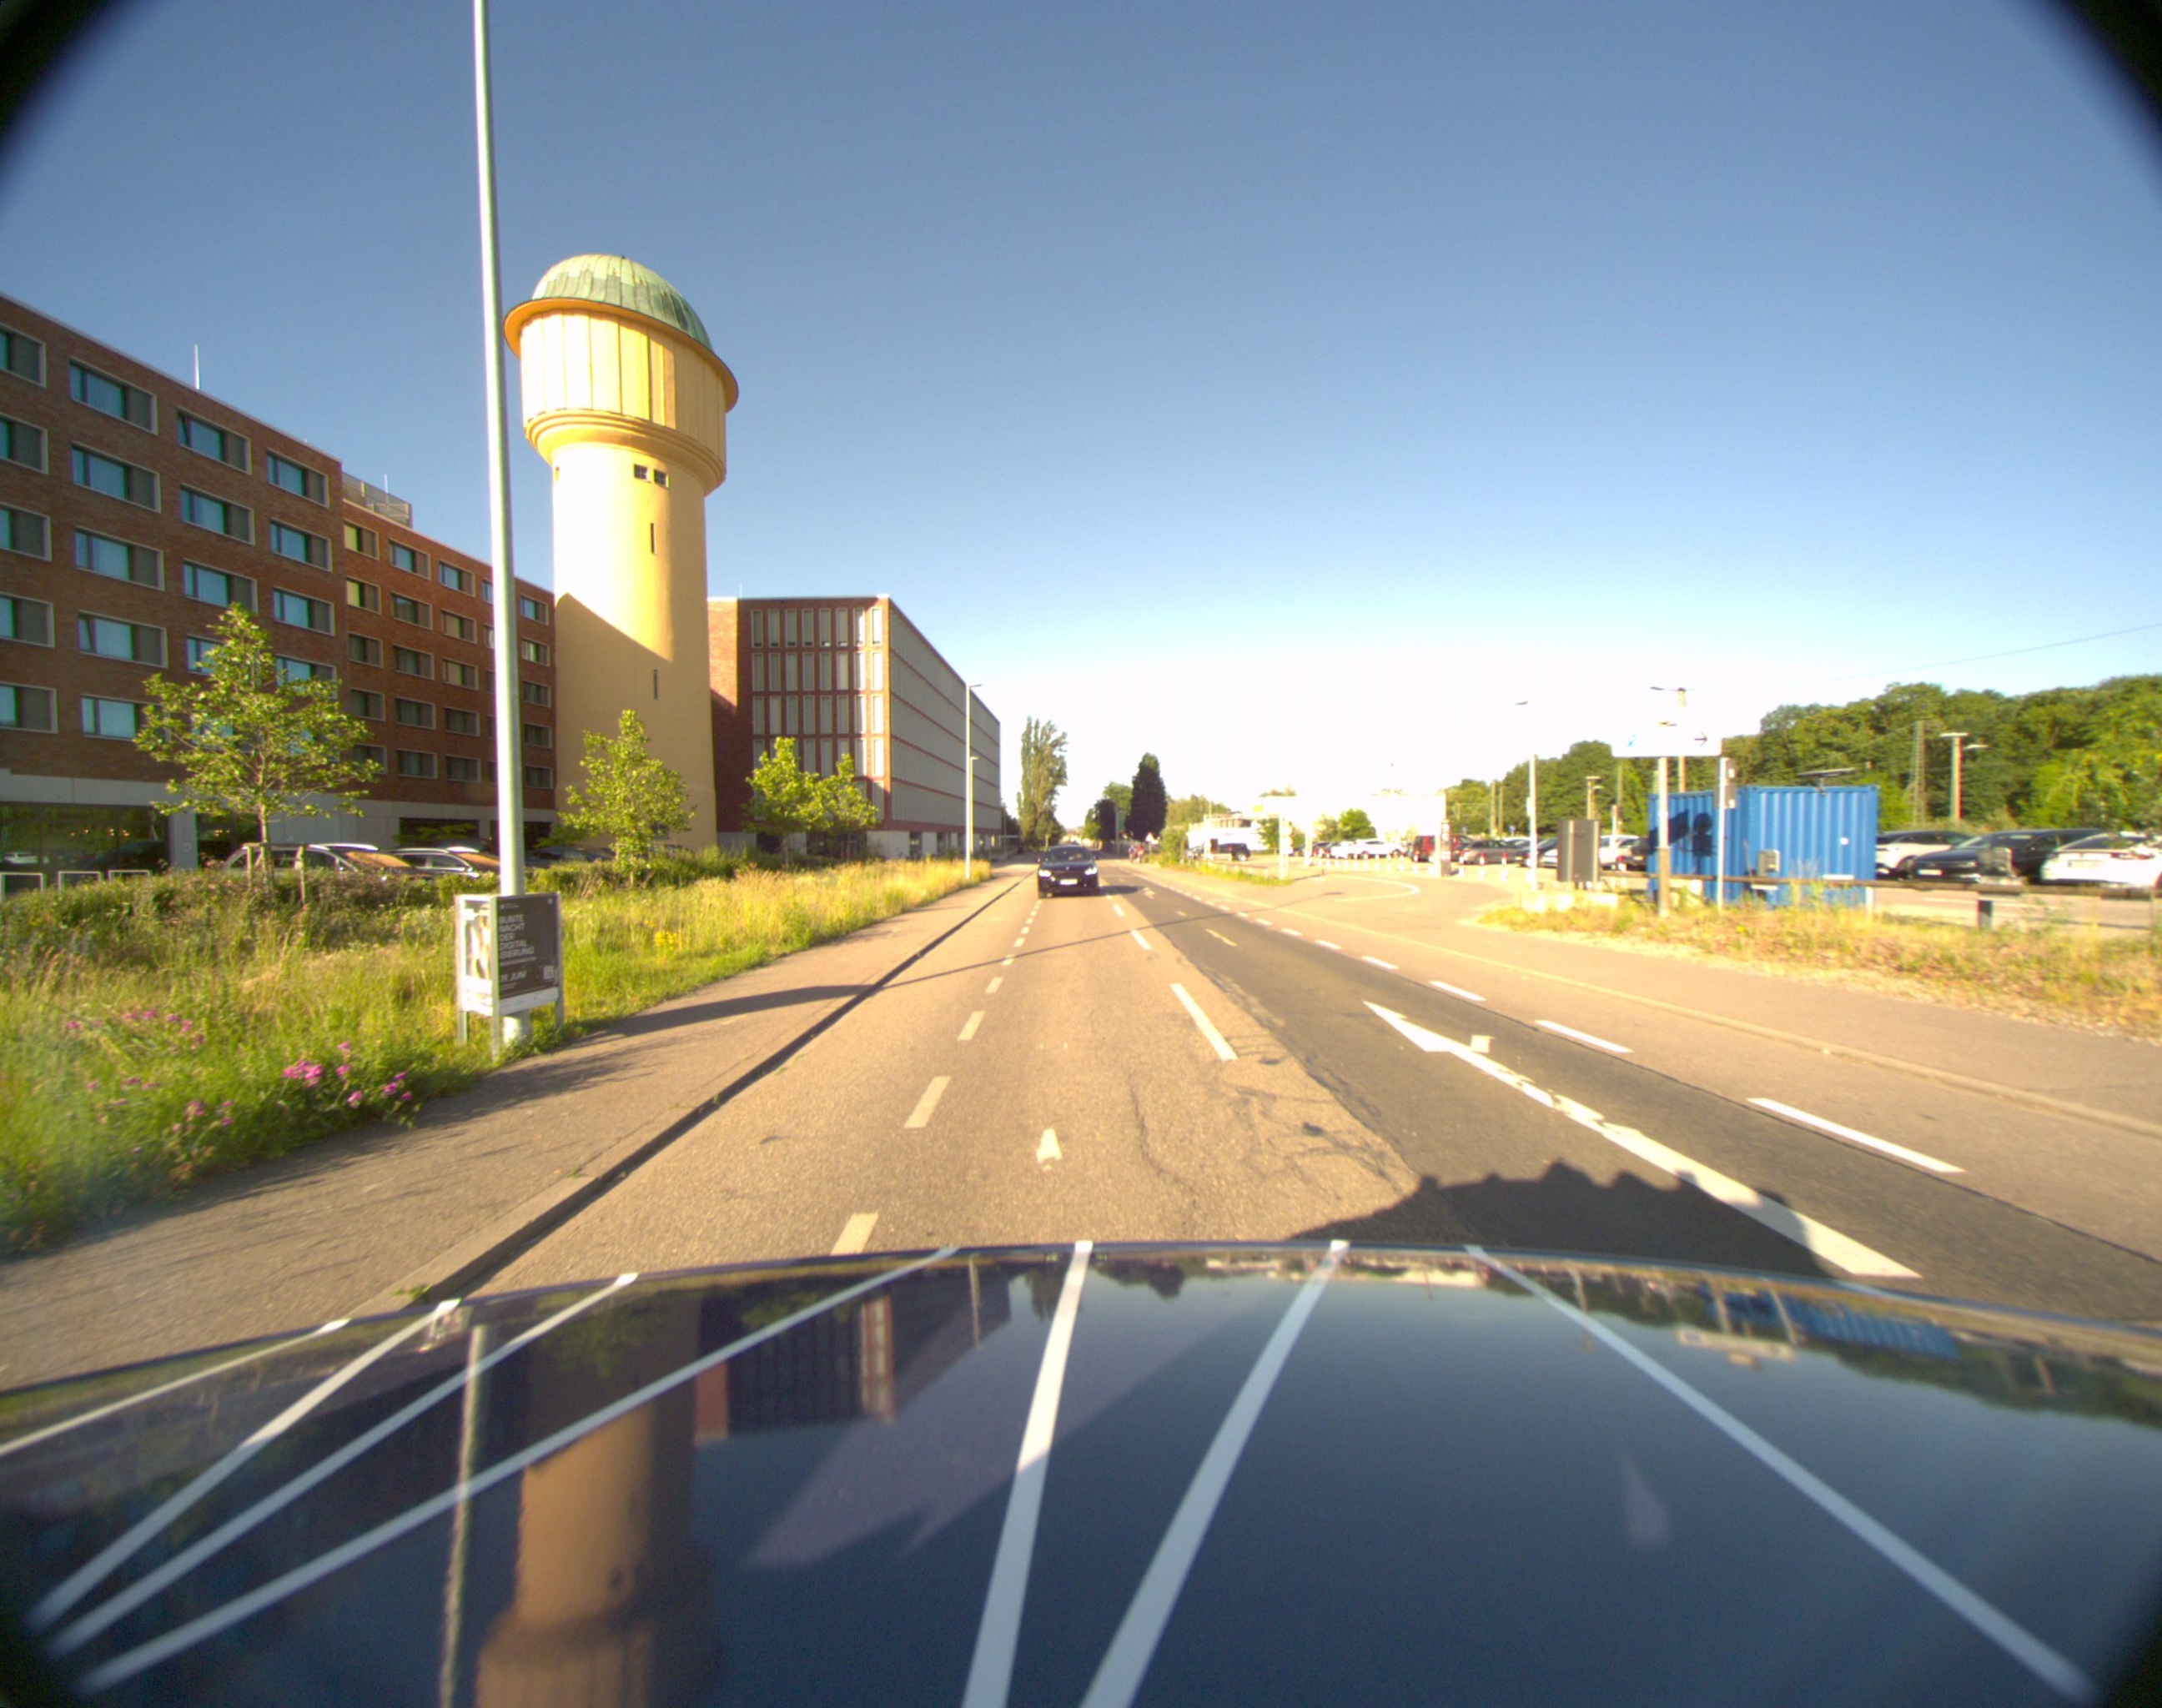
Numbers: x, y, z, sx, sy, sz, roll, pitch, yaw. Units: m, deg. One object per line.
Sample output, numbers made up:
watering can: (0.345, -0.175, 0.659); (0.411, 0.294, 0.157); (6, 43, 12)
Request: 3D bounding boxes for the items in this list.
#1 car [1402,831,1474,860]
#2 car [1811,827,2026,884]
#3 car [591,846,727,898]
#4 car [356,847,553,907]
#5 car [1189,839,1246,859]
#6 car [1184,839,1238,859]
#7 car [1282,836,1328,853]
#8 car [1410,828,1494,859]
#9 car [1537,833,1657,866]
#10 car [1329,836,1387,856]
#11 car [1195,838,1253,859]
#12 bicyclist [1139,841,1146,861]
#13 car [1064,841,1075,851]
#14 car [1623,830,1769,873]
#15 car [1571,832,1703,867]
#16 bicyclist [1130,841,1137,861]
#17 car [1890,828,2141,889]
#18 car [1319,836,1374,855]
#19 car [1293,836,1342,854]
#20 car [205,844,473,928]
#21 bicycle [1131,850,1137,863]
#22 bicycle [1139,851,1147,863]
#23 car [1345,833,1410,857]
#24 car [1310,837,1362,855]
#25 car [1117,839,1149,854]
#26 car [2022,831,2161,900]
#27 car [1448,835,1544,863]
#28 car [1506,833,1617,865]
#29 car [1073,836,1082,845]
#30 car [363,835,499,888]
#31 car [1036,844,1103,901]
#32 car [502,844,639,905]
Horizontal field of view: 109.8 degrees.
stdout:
car: (24.461, -0.577, 52.135); (4.070, 1.767, 1.870); (-2, 1, 6)
car: (24.752, 0.022, 22.557); (4.444, 1.457, 1.869); (-2, 1, -2)
car: (-17.553, 0.725, 31.787); (4.528, 2.002, 2.000); (-1, 1, 2)
car: (-17.348, 0.618, 21.157); (3.996, 1.541, 1.834); (-1, 1, 3)
car: (12.577, -0.474, 70.150); (4.811, 1.790, 2.000); (-1, 1, -1)
car: (12.454, -0.504, 72.821); (4.811, 1.790, 2.000); (-1, 1, -1)
car: (22.788, -0.991, 77.330); (4.309, 1.600, 1.741); (-2, 1, -21)
car: (23.850, -0.662, 48.955); (4.441, 1.767, 1.870); (-2, 1, 6)
car: (24.317, -0.234, 35.912); (4.444, 1.369, 1.869); (-2, 1, -2)
car: (23.153, -0.679, 63.575); (4.157, 1.477, 1.760); (-2, 1, -5)
car: (12.656, -0.478, 67.396); (4.654, 1.731, 1.801); (-2, 1, -2)
bicyclist: (5.782, -0.280, 71.016); (0.568, 1.860, 0.853); (-1, 1, 0)
car: (-2.297, -1.555, 151.932); (1.999, 2.002, 3.999); (-1, 1, 0)
car: (24.742, -0.104, 30.675); (4.444, 1.505, 1.869); (-2, 1, -2)
car: (24.311, -0.203, 33.319); (4.444, 1.369, 1.946); (-2, 1, -2)
bicyclist: (5.006, -0.266, 71.883); (0.568, 1.860, 0.853); (-1, 1, 0)
car: (24.360, 0.098, 19.921); (4.444, 1.435, 1.869); (-1, 1, -2)
car: (23.066, -0.711, 66.085); (4.156, 1.479, 1.765); (-2, 1, -5)
car: (23.271, -0.900, 74.777); (4.325, 1.615, 1.783); (-2, 1, -20)
car: (-17.393, 0.707, 18.002); (4.329, 1.818, 2.000); (-1, 1, 0)
bicycle: (5.019, 0.230, 71.914); (0.503, 1.118, 1.565); (-2, 1, 1)
bicycle: (5.782, 0.247, 71.076); (0.558, 1.058, 1.724); (-2, 1, 1)
car: (23.851, -0.714, 61.211); (4.445, 1.768, 1.869); (-1, 1, -3)
car: (23.093, -0.747, 68.852); (4.011, 1.479, 1.765); (-2, 1, -5)
car: (9.732, -1.403, 141.210); (5.769, 2.686, 2.000); (-1, 1, 0)
car: (24.589, 0.197, 17.183); (4.444, 1.369, 1.869); (-2, 1, -2)
car: (23.875, -0.288, 43.845); (4.442, 1.436, 1.922); (-2, 1, 5)
car: (24.139, -0.258, 38.258); (4.444, 1.369, 1.869); (-2, 1, -2)
car: (-0.814, -3.215, 176.813); (1.999, 2.002, 3.999); (-1, 1, 0)
car: (-29.459, 0.290, 34.700); (1.867, 2.251, 4.937); (-1, 1, 1)
car: (-0.380, 0.534, 25.994); (2.047, 1.704, 4.750); (-2, 1, -1)
car: (-17.758, 0.685, 26.554); (3.481, 2.010, 1.836); (-1, 1, 1)
